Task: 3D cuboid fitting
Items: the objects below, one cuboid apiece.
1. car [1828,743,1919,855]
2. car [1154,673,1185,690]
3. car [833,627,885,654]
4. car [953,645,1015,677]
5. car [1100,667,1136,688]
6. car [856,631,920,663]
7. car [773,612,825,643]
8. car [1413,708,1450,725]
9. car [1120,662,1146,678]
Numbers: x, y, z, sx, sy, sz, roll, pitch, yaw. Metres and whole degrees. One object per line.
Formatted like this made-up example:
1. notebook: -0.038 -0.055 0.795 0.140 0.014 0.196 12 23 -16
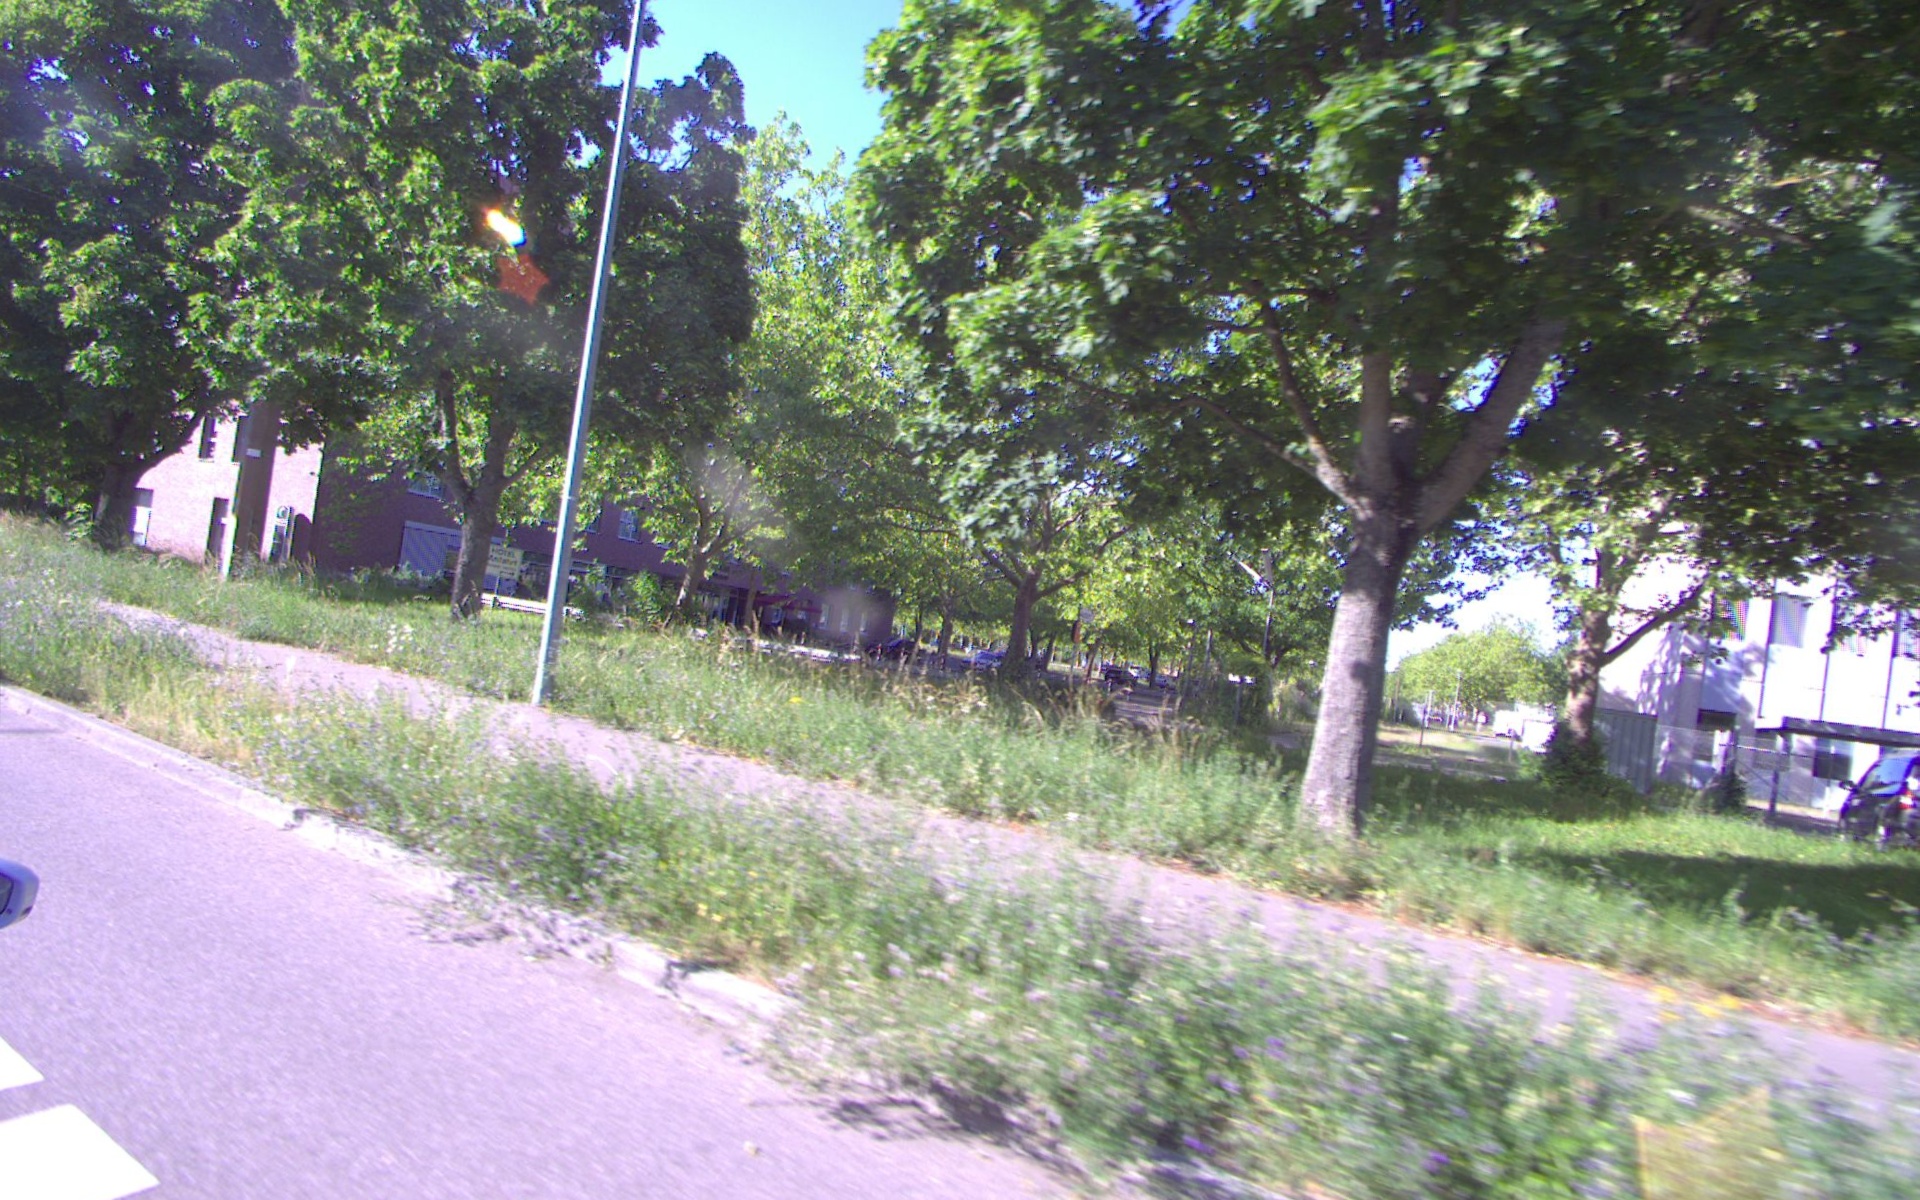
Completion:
1. car: 15.564 3.232 16.194 1.710 1.522 4.037 7 -2 33
2. car: 21.598 8.408 103.458 1.800 1.304 4.230 7 -3 29
3. car: -7.617 3.067 76.190 1.840 1.508 4.000 7 -3 28
4. car: 1.548 3.787 61.952 1.800 1.414 4.524 7 -3 29
5. car: 14.639 7.144 93.088 1.800 1.478 4.230 7 -3 29
6. car: -4.695 3.093 65.891 1.845 1.508 3.990 6 -3 38
7. car: -12.302 2.107 77.056 1.839 1.848 4.003 7 -3 24
8. car: 60.724 15.015 129.590 4.160 1.478 1.831 7 -3 30
9. car: 22.019 8.895 127.624 1.800 1.478 4.230 7 -3 29
